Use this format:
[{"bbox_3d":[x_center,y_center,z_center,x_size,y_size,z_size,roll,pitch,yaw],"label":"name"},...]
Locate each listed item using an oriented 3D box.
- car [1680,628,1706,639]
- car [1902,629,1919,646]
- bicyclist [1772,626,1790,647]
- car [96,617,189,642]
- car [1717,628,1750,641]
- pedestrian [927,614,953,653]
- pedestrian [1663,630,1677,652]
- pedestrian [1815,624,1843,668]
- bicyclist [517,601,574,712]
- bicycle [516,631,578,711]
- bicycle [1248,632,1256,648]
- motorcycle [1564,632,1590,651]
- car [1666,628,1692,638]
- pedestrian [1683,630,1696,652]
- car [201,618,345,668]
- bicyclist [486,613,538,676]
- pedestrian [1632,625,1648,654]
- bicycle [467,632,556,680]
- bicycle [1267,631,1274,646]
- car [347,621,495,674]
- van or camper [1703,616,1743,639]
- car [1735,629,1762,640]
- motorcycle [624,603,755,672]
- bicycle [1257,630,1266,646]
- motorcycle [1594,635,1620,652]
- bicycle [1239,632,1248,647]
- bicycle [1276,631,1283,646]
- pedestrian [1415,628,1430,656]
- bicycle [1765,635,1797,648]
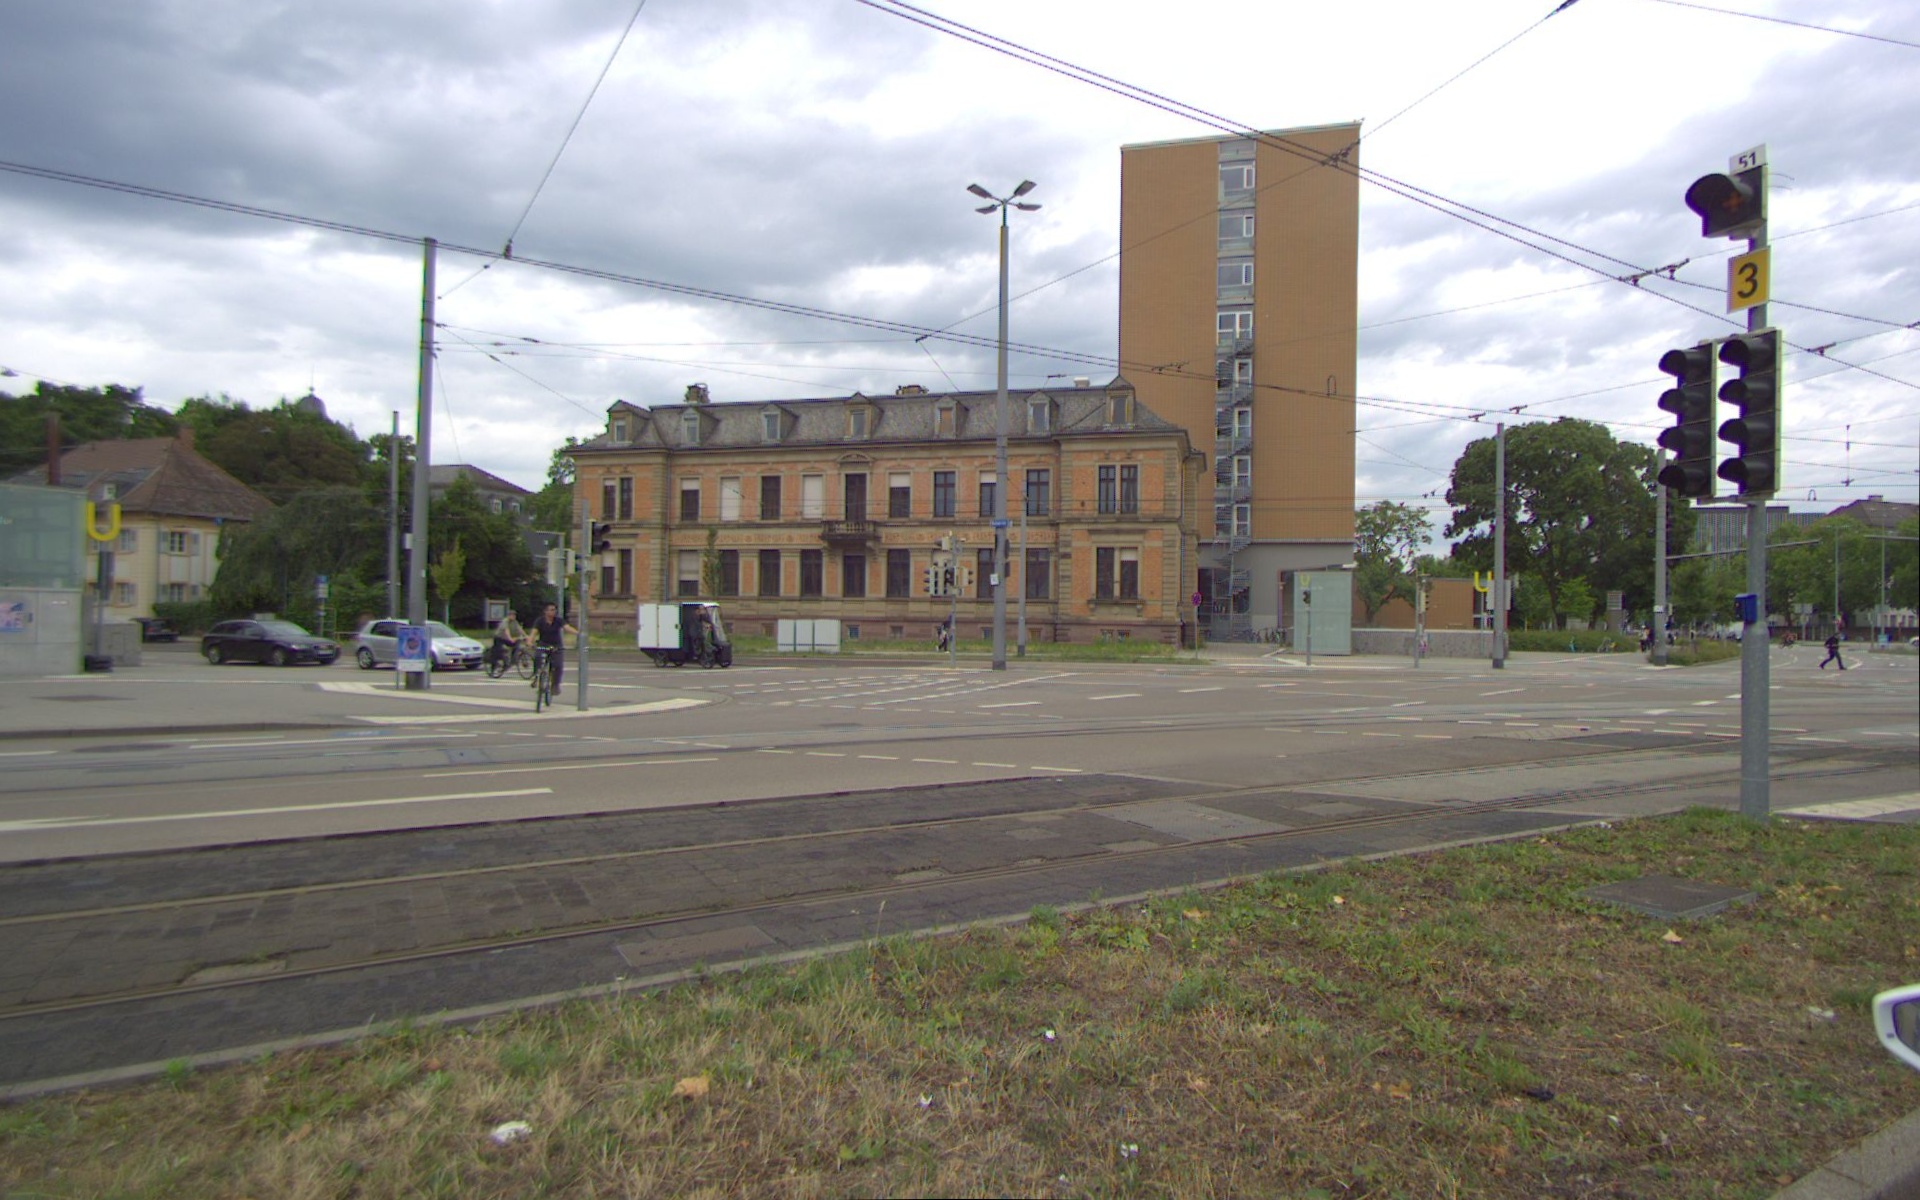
[{"bbox_3d":[109.930,5.065,150.617,1.746,1.483,4.002,1,0,15],"label":"car"},{"bbox_3d":[102.120,3.980,105.734,1.692,1.795,3.977,1,-1,-24],"label":"car"},{"bbox_3d":[80.453,3.605,98.446,0.961,2.040,0.939,1,-1,-10],"label":"bicyclist"},{"bbox_3d":[-45.033,1.603,55.357,3.919,1.305,1.936,1,-1,12],"label":"car"},{"bbox_3d":[95.141,4.269,123.583,1.746,1.483,4.002,1,-1,14],"label":"car"},{"bbox_3d":[-0.921,1.556,47.176,1.104,1.786,0.759,1,-1,8],"label":"pedestrian"},{"bbox_3d":[67.478,3.883,95.430,0.787,2.007,0.874,3,-2,-31],"label":"pedestrian"},{"bbox_3d":[41.493,2.183,47.982,1.009,2.040,0.842,0,-1,41],"label":"pedestrian"},{"bbox_3d":[-7.085,0.938,17.160,0.805,1.822,1.022,0,0,-28],"label":"bicyclist"},{"bbox_3d":[-7.055,1.169,17.090,0.805,1.259,1.986,0,-2,-27],"label":"bicycle"},{"bbox_3d":[21.555,2.930,74.133,0.561,1.120,1.428,1,-1,18],"label":"bicycle"},{"bbox_3d":[41.583,2.806,67.713,1.443,1.285,0.512,1,-1,14],"label":"motorcycle"},{"bbox_3d":[113.897,5.280,159.136,1.745,1.483,4.002,1,0,11],"label":"car"},{"bbox_3d":[67.520,3.802,92.980,0.868,2.007,0.792,0,-2,42],"label":"pedestrian"},{"bbox_3d":[-22.043,1.355,32.231,4.061,1.468,1.697,1,-1,18],"label":"car"},{"bbox_3d":[-11.856,1.167,26.608,0.899,1.644,0.855,0,-1,20],"label":"bicyclist"},{"bbox_3d":[48.275,2.820,71.338,0.781,2.007,0.880,1,-2,26],"label":"pedestrian"},{"bbox_3d":[-11.866,1.467,26.600,2.154,1.224,0.857,0,-2,20],"label":"bicycle"},{"bbox_3d":[22.823,2.815,73.768,0.500,1.063,1.428,1,-1,18],"label":"bicycle"},{"bbox_3d":[-16.245,1.383,30.261,4.081,1.473,1.761,0,-1,23],"label":"car"},{"bbox_3d":[108.259,3.838,142.512,2.347,3.165,5.507,1,-1,12],"label":"van or camper"},{"bbox_3d":[111.833,4.861,142.426,1.746,1.483,4.001,1,0,18],"label":"car"},{"bbox_3d":[-8.485,1.135,31.560,3.614,2.040,1.696,0,-1,19],"label":"motorcycle"},{"bbox_3d":[22.199,2.807,73.967,0.561,1.120,1.428,1,-1,18],"label":"bicycle"},{"bbox_3d":[43.686,2.948,67.840,1.716,1.126,0.510,1,-1,-17],"label":"motorcycle"},{"bbox_3d":[20.993,2.913,74.303,0.561,1.120,1.428,1,-1,18],"label":"bicycle"},{"bbox_3d":[23.397,2.801,73.644,0.472,1.063,1.428,1,-1,18],"label":"bicycle"},{"bbox_3d":[23.209,2.115,50.429,0.562,1.353,0.499,1,-1,10],"label":"pedestrian"},{"bbox_3d":[80.424,4.076,98.415,2.681,1.194,0.941,1,-1,-10],"label":"bicycle"}]
